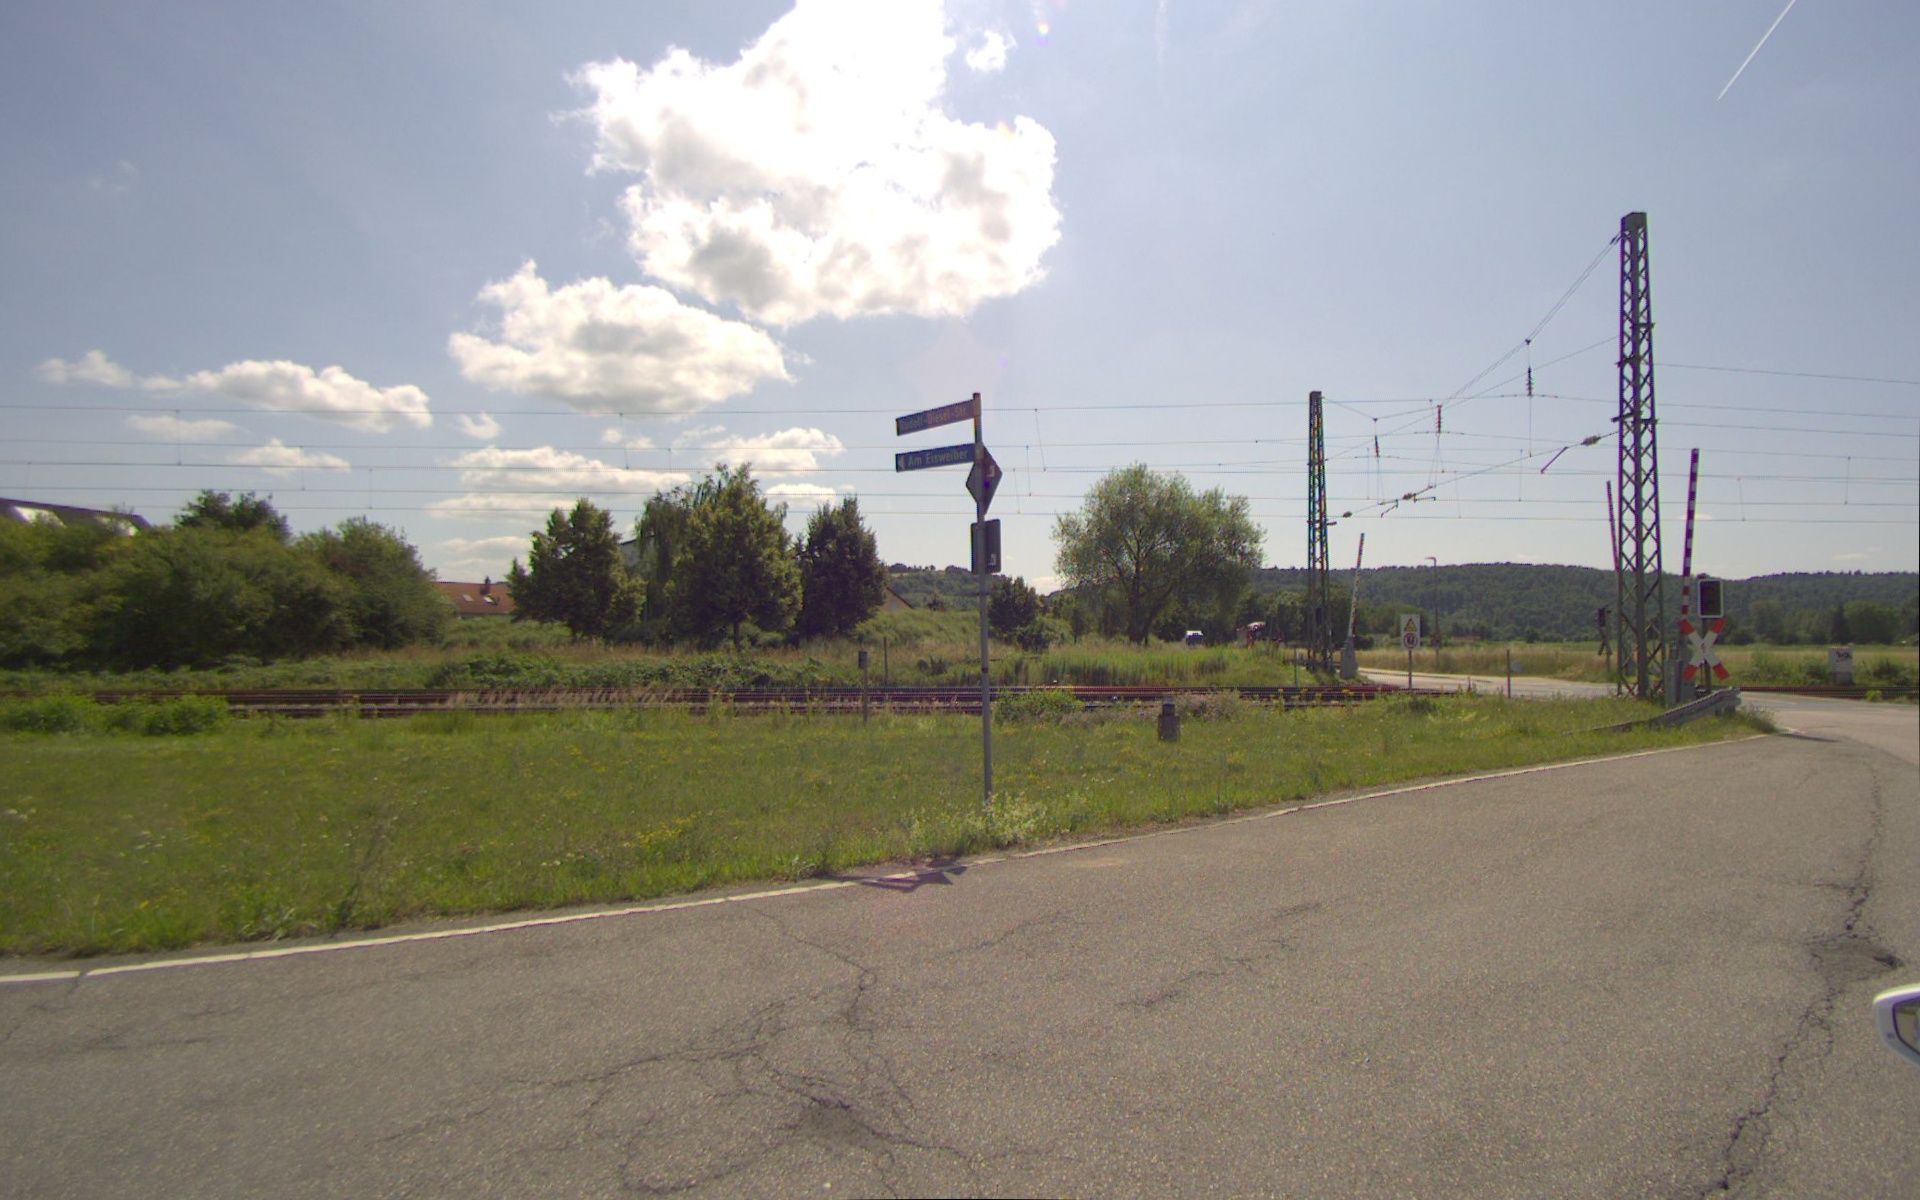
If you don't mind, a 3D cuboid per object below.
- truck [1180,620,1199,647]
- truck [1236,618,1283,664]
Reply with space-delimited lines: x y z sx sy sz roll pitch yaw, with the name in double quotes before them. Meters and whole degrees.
"truck" 34.523 5.099 151.015 2.527 4.000 6.044 -1 -2 11
"truck" 26.125 3.615 88.125 2.823 3.794 12.159 0 -3 11
